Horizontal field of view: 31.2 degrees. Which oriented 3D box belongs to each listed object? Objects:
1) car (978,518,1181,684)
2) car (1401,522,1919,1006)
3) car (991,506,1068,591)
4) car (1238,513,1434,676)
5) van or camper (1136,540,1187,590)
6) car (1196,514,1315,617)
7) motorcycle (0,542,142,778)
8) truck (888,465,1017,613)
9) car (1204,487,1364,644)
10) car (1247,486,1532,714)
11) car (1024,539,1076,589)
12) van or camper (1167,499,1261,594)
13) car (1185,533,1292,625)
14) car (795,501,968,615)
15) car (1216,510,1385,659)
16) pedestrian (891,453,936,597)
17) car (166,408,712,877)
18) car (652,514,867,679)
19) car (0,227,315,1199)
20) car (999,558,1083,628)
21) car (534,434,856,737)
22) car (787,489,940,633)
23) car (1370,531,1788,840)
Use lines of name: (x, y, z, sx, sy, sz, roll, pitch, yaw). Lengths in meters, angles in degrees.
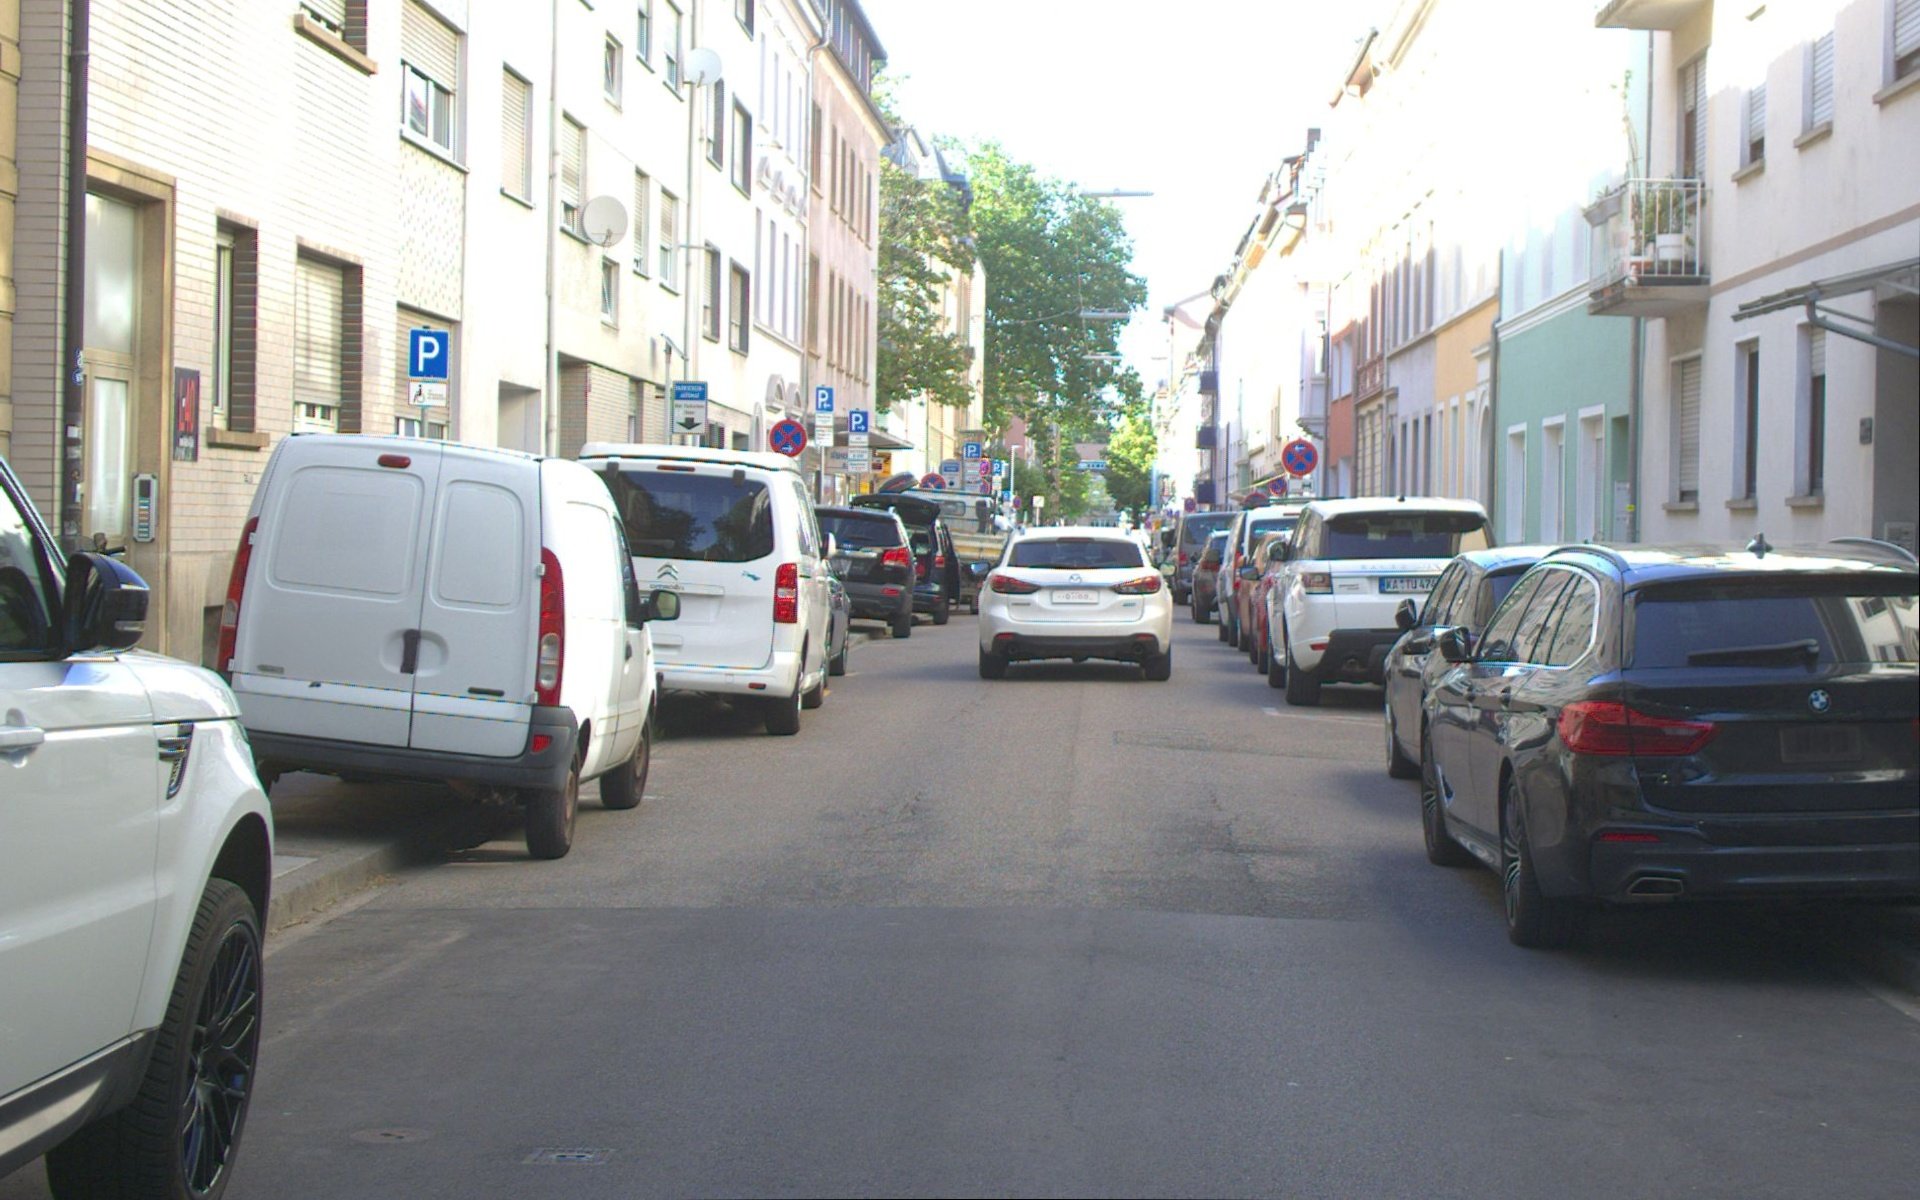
car: (1.216, -0.027, 33.481, 1.834, 1.481, 4.056, 1, 1, 4)
car: (2.937, 0.508, 13.857, 1.815, 1.514, 4.727, 3, 2, 2)
car: (1.577, -1.193, 79.050, 1.647, 1.861, 4.000, 1, 1, 0)
car: (3.897, -0.105, 36.191, 1.742, 1.563, 4.032, 1, 2, 2)
van or camper: (8.114, -1.403, 138.873, 1.994, 1.919, 4.000, 1, 0, 3)
car: (4.851, -0.601, 56.916, 1.739, 1.571, 4.377, 1, 2, 2)
motorcycle: (-4.941, 0.286, 18.612, 0.433, 1.181, 2.121, 2, 1, 2)
truck: (-0.196, -1.084, 63.871, 2.156, 2.581, 6.250, 1, 0, -2)
car: (4.270, -0.469, 45.832, 1.782, 1.955, 4.336, 1, 1, 1)
car: (3.620, -0.074, 29.824, 2.005, 1.777, 4.939, 1, 2, 2)
car: (3.050, -1.238, 116.142, 1.625, 1.591, 3.580, 2, 1, 3)
van or camper: (5.572, -1.176, 75.852, 1.775, 2.029, 4.570, 0, 1, 1)
car: (5.064, -0.416, 62.936, 1.742, 1.563, 4.032, 1, 2, 2)
car: (-1.220, -0.714, 56.166, 2.441, 1.700, 5.242, 2, 1, 3)
car: (4.011, -0.225, 40.973, 1.580, 1.626, 3.682, 3, 1, 0)
pedestrian: (-0.722, -1.164, 53.561, 0.619, 2.221, 0.688, 1, 0, 3)
car: (-2.379, 0.118, 16.740, 1.744, 1.869, 4.090, 5, 2, 2)
car: (-1.882, -0.075, 33.467, 1.707, 1.445, 4.302, 2, 1, 1)
car: (-2.606, 0.372, 5.662, 2.022, 2.007, 4.543, 1, 1, 3)
car: (1.752, -0.173, 74.602, 1.758, 1.411, 4.000, -1, 1, 1)
car: (-1.866, -0.174, 25.658, 1.894, 1.951, 4.782, 3, 2, 0)
car: (-1.305, -0.586, 47.265, 1.879, 1.749, 4.543, 4, 2, -1)
car: (3.389, 0.397, 19.499, 1.747, 1.443, 3.869, 3, 2, 2)
